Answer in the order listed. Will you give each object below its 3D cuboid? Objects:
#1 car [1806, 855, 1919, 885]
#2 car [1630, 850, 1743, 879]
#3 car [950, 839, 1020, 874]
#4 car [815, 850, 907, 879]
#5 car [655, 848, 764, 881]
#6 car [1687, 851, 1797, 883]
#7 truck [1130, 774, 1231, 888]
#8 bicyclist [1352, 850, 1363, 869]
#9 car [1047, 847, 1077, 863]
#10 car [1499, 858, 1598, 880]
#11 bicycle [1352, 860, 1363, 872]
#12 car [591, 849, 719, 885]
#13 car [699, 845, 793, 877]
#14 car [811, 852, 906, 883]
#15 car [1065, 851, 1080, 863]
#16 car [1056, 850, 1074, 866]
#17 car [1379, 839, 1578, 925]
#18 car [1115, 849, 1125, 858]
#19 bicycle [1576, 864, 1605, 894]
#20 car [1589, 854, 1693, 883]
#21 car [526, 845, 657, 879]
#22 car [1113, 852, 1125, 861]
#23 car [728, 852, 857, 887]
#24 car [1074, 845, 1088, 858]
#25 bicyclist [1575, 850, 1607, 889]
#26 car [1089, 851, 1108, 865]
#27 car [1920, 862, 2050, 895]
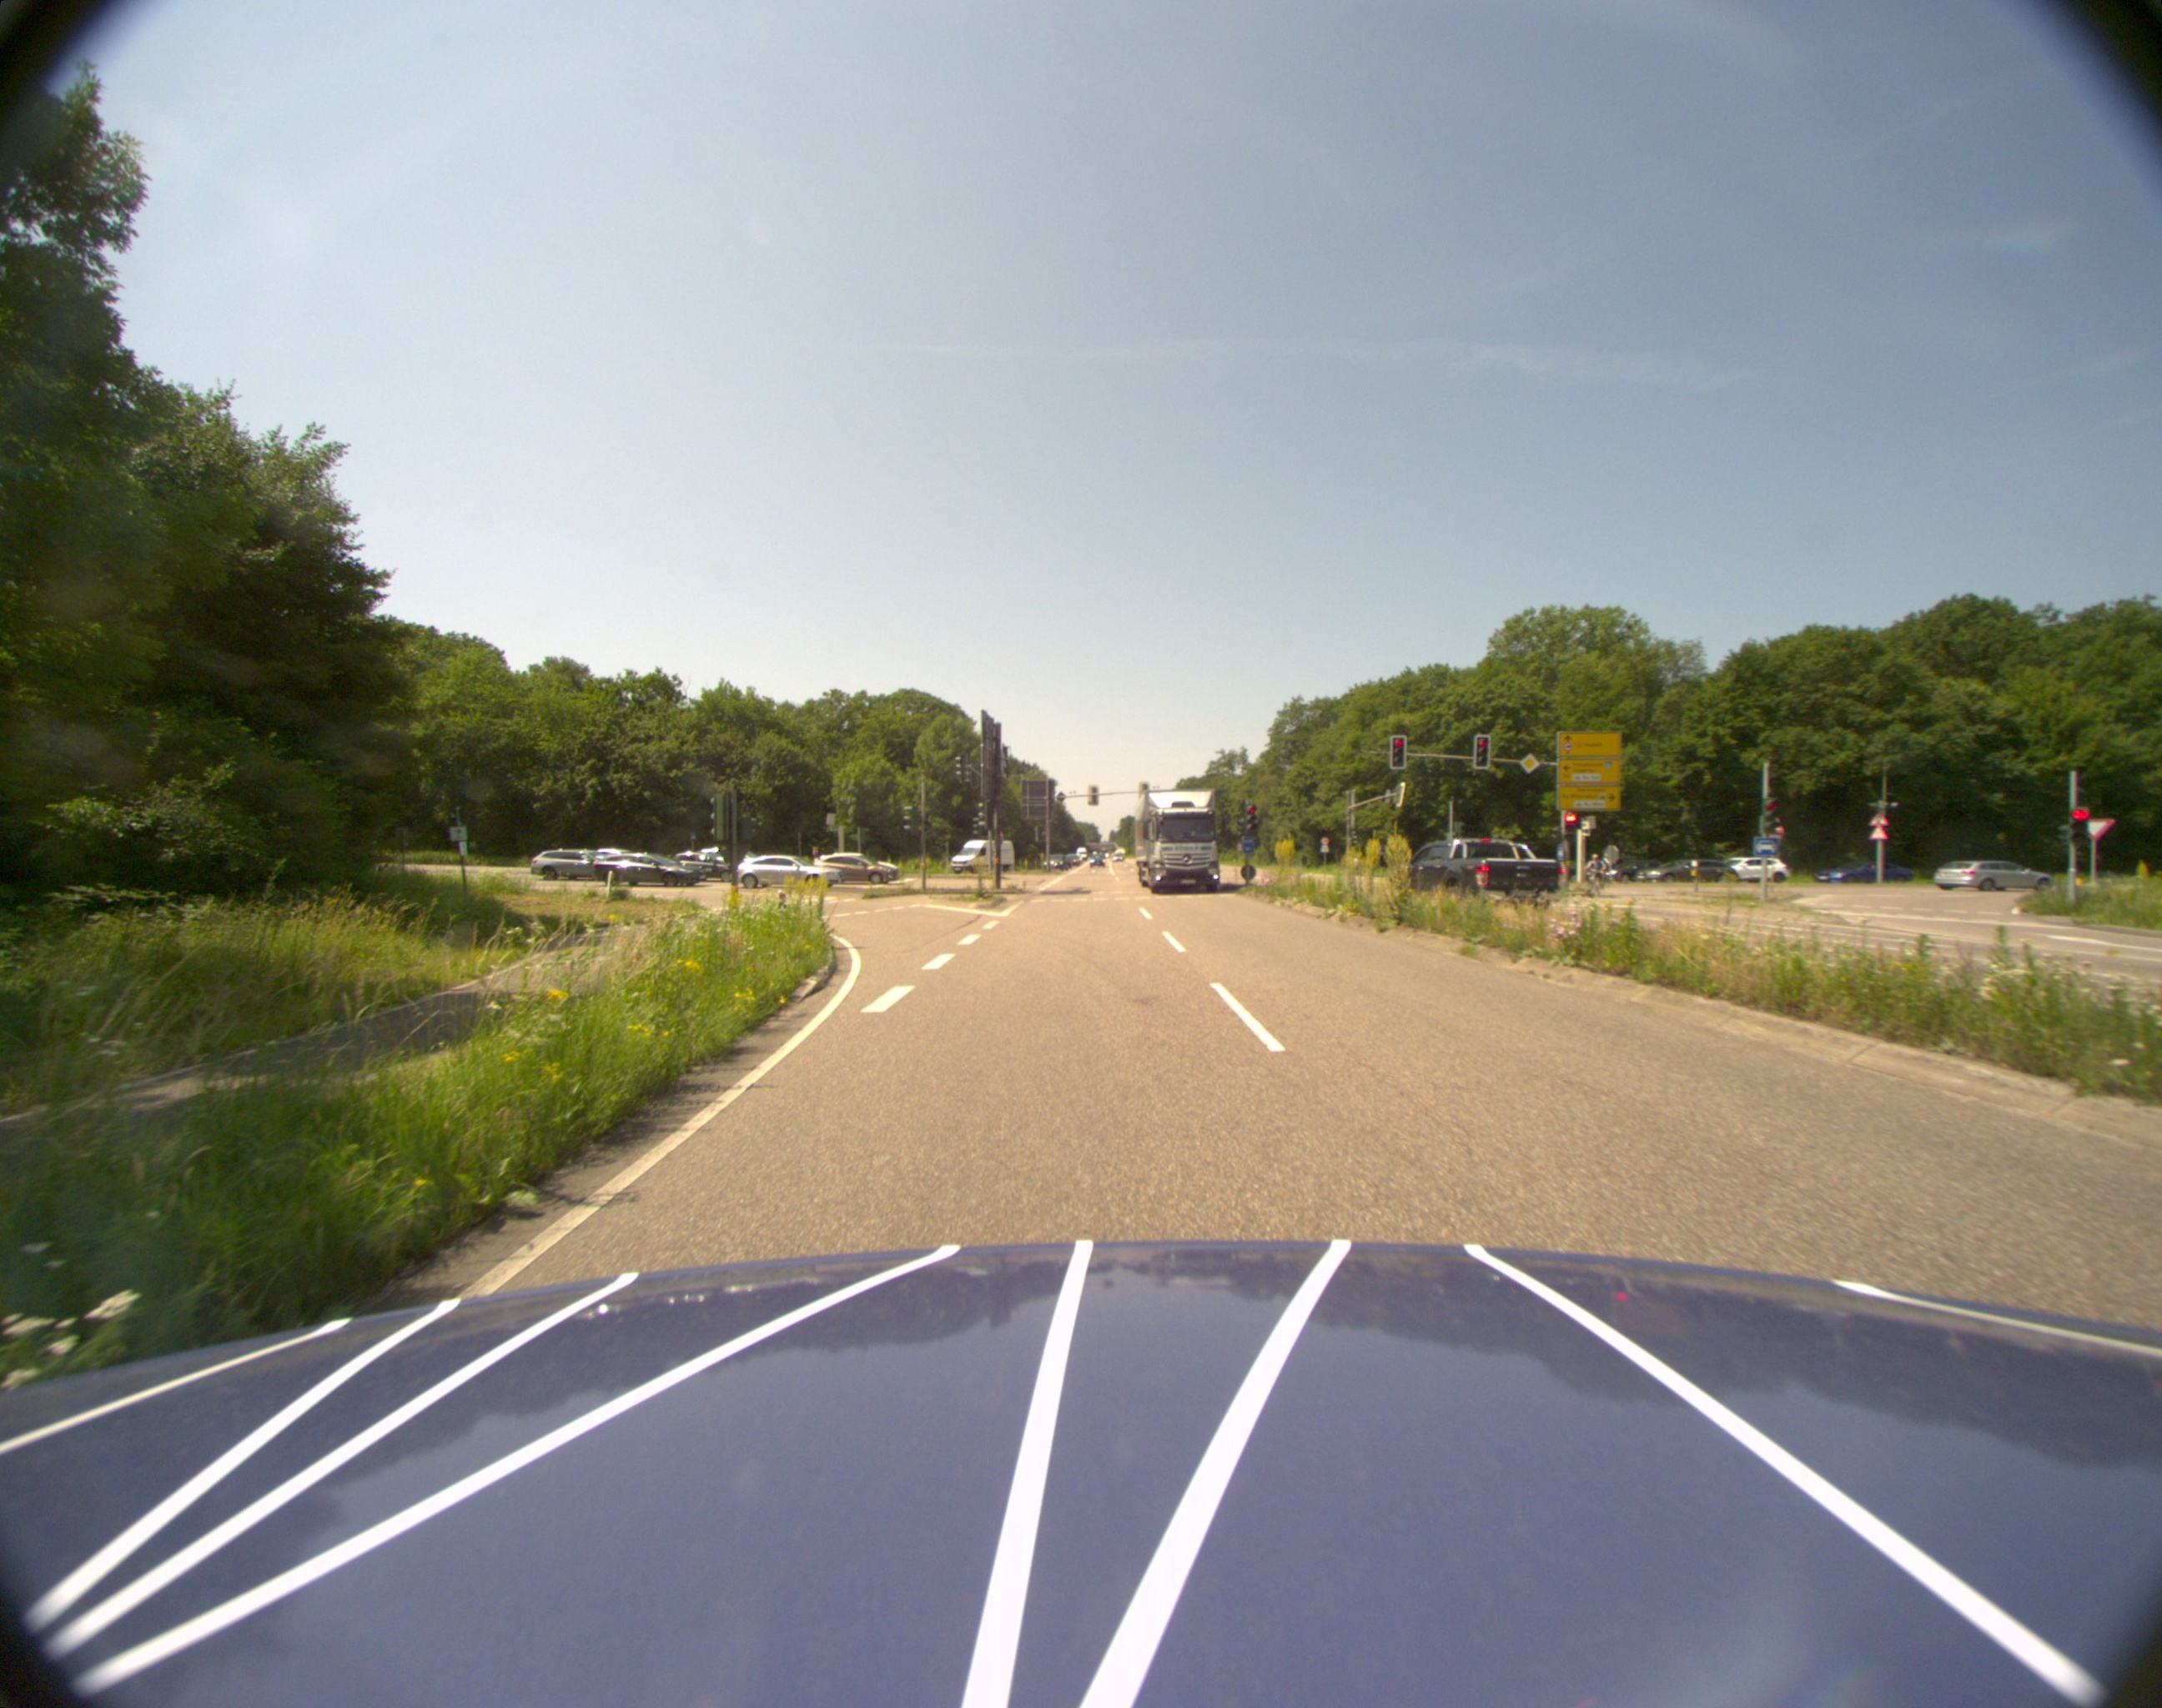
[{"bbox_3d":[47.724,0.972,46.472,4.817,1.747,2.000,1,1,0],"label":"car"},{"bbox_3d":[34.020,0.573,42.782,4.817,1.510,1.862,1,1,0],"label":"car"},{"bbox_3d":[-7.444,0.155,59.764,1.971,2.629,6.071,-1,0,32],"label":"car"},{"bbox_3d":[-11.921,0.548,41.346,4.430,1.526,2.000,1,1,0],"label":"car"},{"bbox_3d":[-18.605,0.485,38.199,4.430,1.526,2.122,1,1,1],"label":"car"},{"bbox_3d":[40.583,0.776,46.738,4.816,1.885,2.066,1,1,2],"label":"car"},{"bbox_3d":[3.822,-0.836,31.991,2.753,3.862,11.319,-1,0,0],"label":"truck"},{"bbox_3d":[21.667,0.435,59.552,0.660,1.456,0.810,1,1,11],"label":"bicyclist"},{"bbox_3d":[-1.756,0.103,71.924,1.794,1.452,4.233,2,1,13],"label":"car"},{"bbox_3d":[28.793,0.910,46.919,4.816,1.283,2.105,1,1,2],"label":"car"},{"bbox_3d":[21.654,0.946,59.529,0.566,0.918,1.606,1,1,11],"label":"bicycle"},{"bbox_3d":[-19.274,0.562,34.510,4.628,1.490,2.112,1,1,2],"label":"car"},{"bbox_3d":[-18.141,0.365,41.251,4.182,1.649,2.000,1,1,2],"label":"car"},{"bbox_3d":[-10.899,0.623,37.462,4.102,1.438,1.995,1,1,0],"label":"car"},{"bbox_3d":[-1.056,0.309,94.821,1.796,1.431,4.228,0,0,0],"label":"car"},{"bbox_3d":[-1.750,0.443,83.016,1.740,1.681,3.735,-1,1,1],"label":"car"},{"bbox_3d":[8.983,0.542,17.844,1.998,1.668,5.366,1,1,2],"label":"car"},{"bbox_3d":[8.280,-0.128,162.028,1.998,1.867,4.000,1,0,1],"label":"car"},{"bbox_3d":[19.480,0.930,29.042,0.722,1.057,1.873,1,1,39],"label":"bicycle"},{"bbox_3d":[34.418,0.870,46.810,4.815,1.626,2.001,1,1,5],"label":"car"},{"bbox_3d":[-24.149,0.391,37.649,5.141,1.525,2.138,1,1,2],"label":"car"},{"bbox_3d":[6.709,0.435,134.158,1.998,1.543,4.000,1,0,1],"label":"car"},{"bbox_3d":[-12.796,0.658,33.929,4.943,1.490,2.020,0,1,2],"label":"car"},{"bbox_3d":[0.041,-0.485,156.880,2.673,2.685,6.331,1,0,3],"label":"car"},{"bbox_3d":[19.488,0.577,29.042,0.924,1.451,0.718,1,1,39],"label":"bicyclist"},{"bbox_3d":[1.968,0.424,86.474,1.992,1.575,4.364,0,0,0],"label":"car"},{"bbox_3d":[42.688,1.145,35.934,4.012,1.383,1.770,-1,0,0],"label":"car"}]
